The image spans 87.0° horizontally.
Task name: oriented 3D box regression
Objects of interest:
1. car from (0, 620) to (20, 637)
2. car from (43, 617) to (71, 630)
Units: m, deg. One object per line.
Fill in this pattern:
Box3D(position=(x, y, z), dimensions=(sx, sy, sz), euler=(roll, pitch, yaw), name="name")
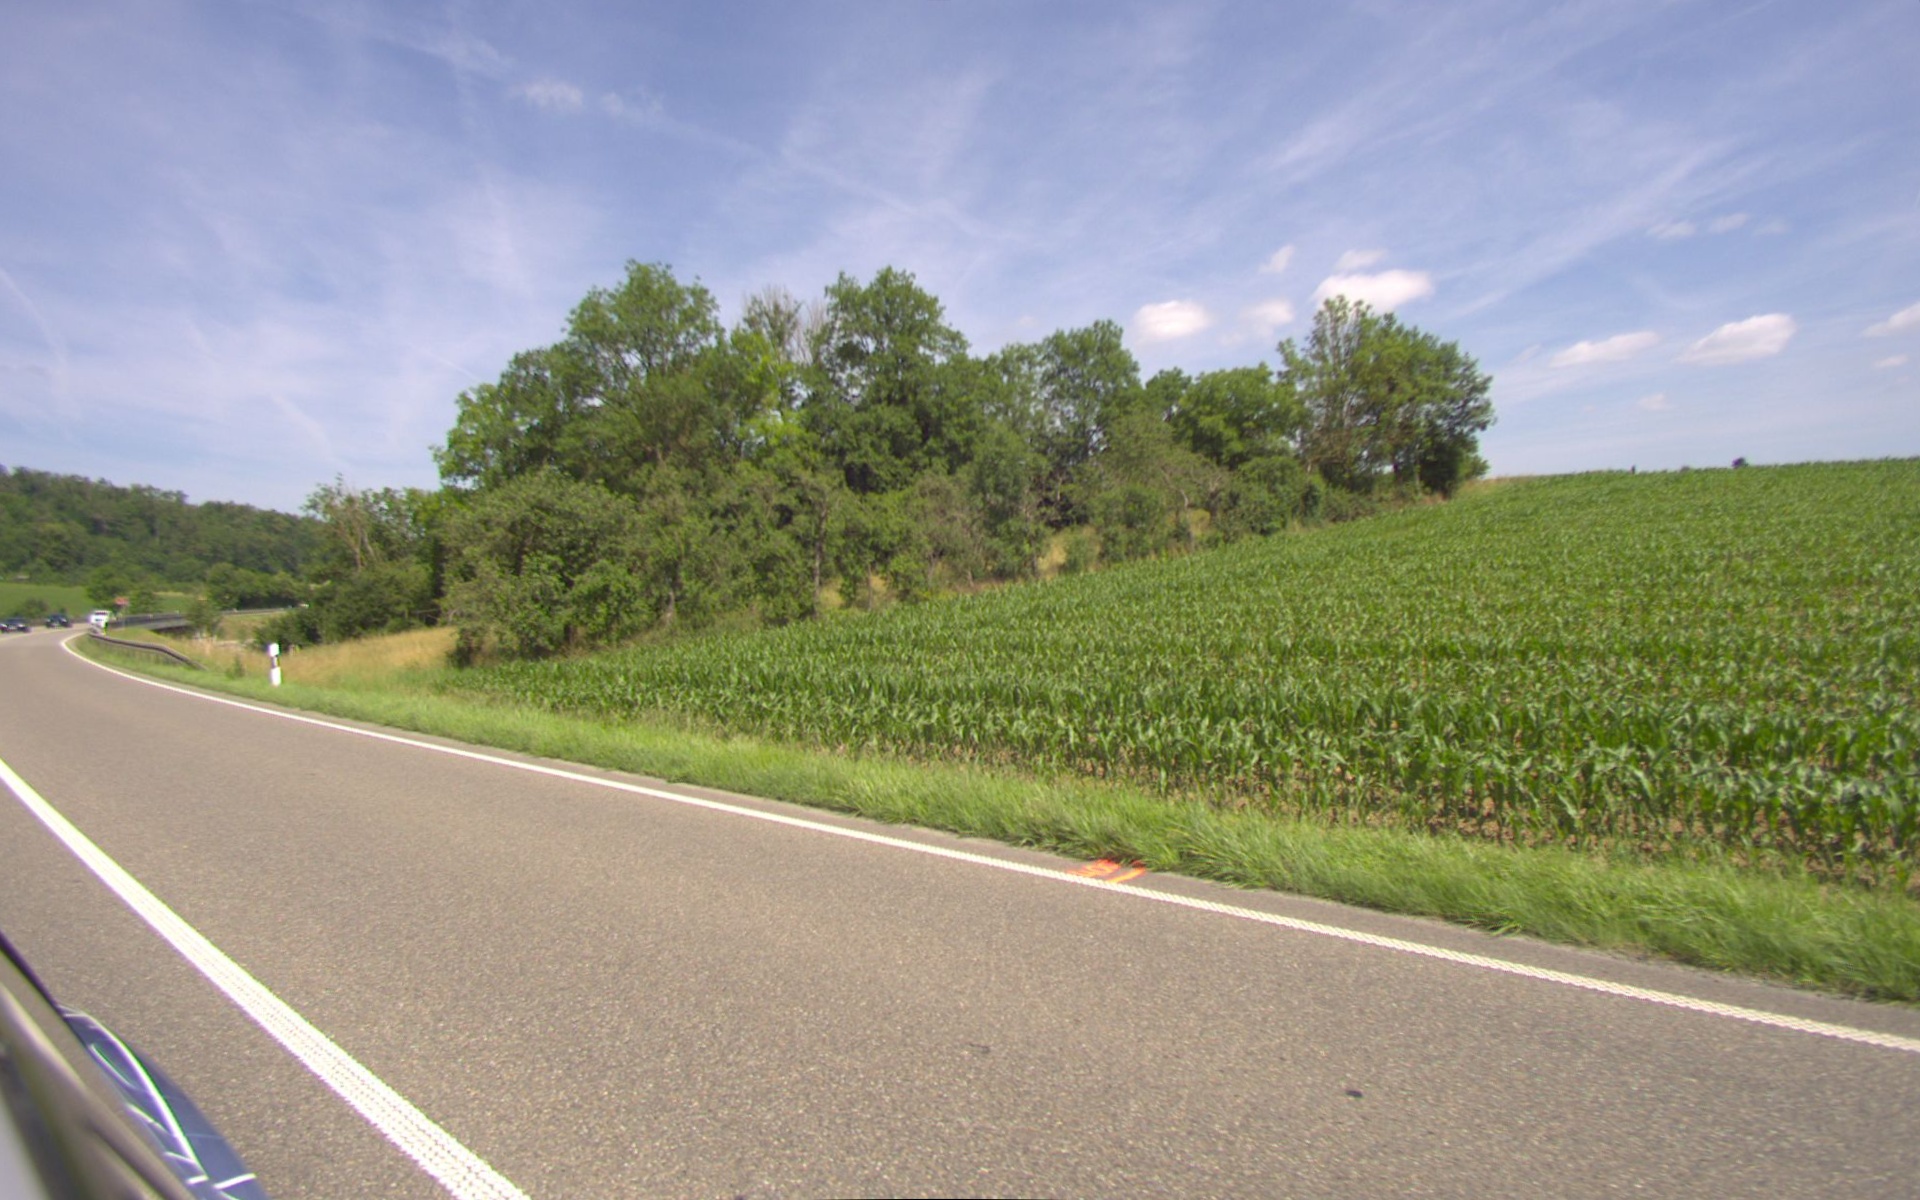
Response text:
Box3D(position=(-86.475, 2.540, 91.719), dimensions=(1.717, 1.465, 4.042), euler=(0, 0, -40), name="car")
Box3D(position=(-104.973, 2.712, 117.639), dimensions=(1.714, 1.465, 4.048), euler=(0, 0, -31), name="car")
